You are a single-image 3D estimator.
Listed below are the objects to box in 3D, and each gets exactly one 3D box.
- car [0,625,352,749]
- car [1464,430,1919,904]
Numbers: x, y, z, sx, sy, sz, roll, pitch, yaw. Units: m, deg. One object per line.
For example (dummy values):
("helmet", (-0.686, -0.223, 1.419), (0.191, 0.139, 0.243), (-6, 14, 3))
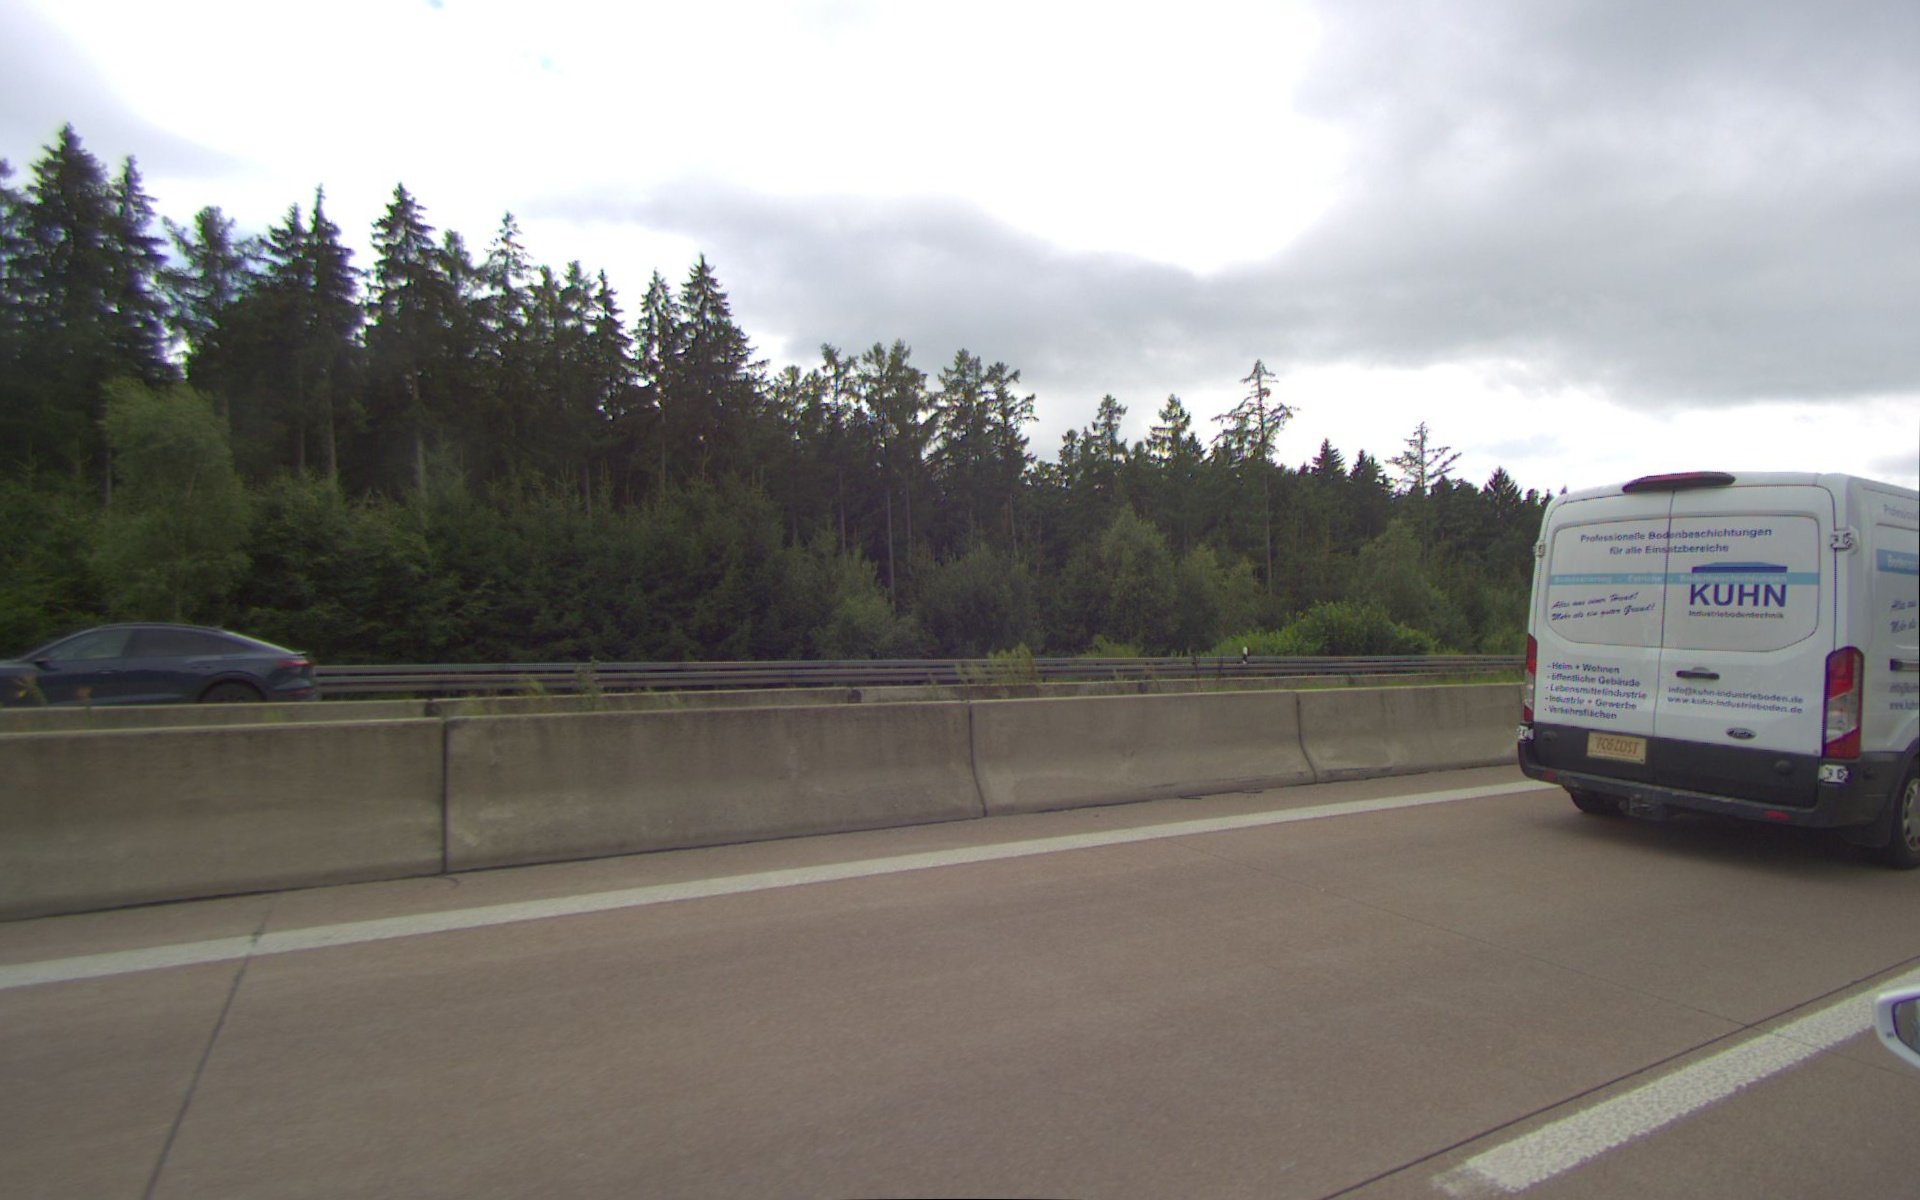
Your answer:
("car", (-11.983, 1.196, 14.738), (5.137, 1.612, 2.114), (1, -1, -30))
("car", (7.206, 0.429, 8.089), (7.047, 2.540, 2.128), (1, -1, -30))
